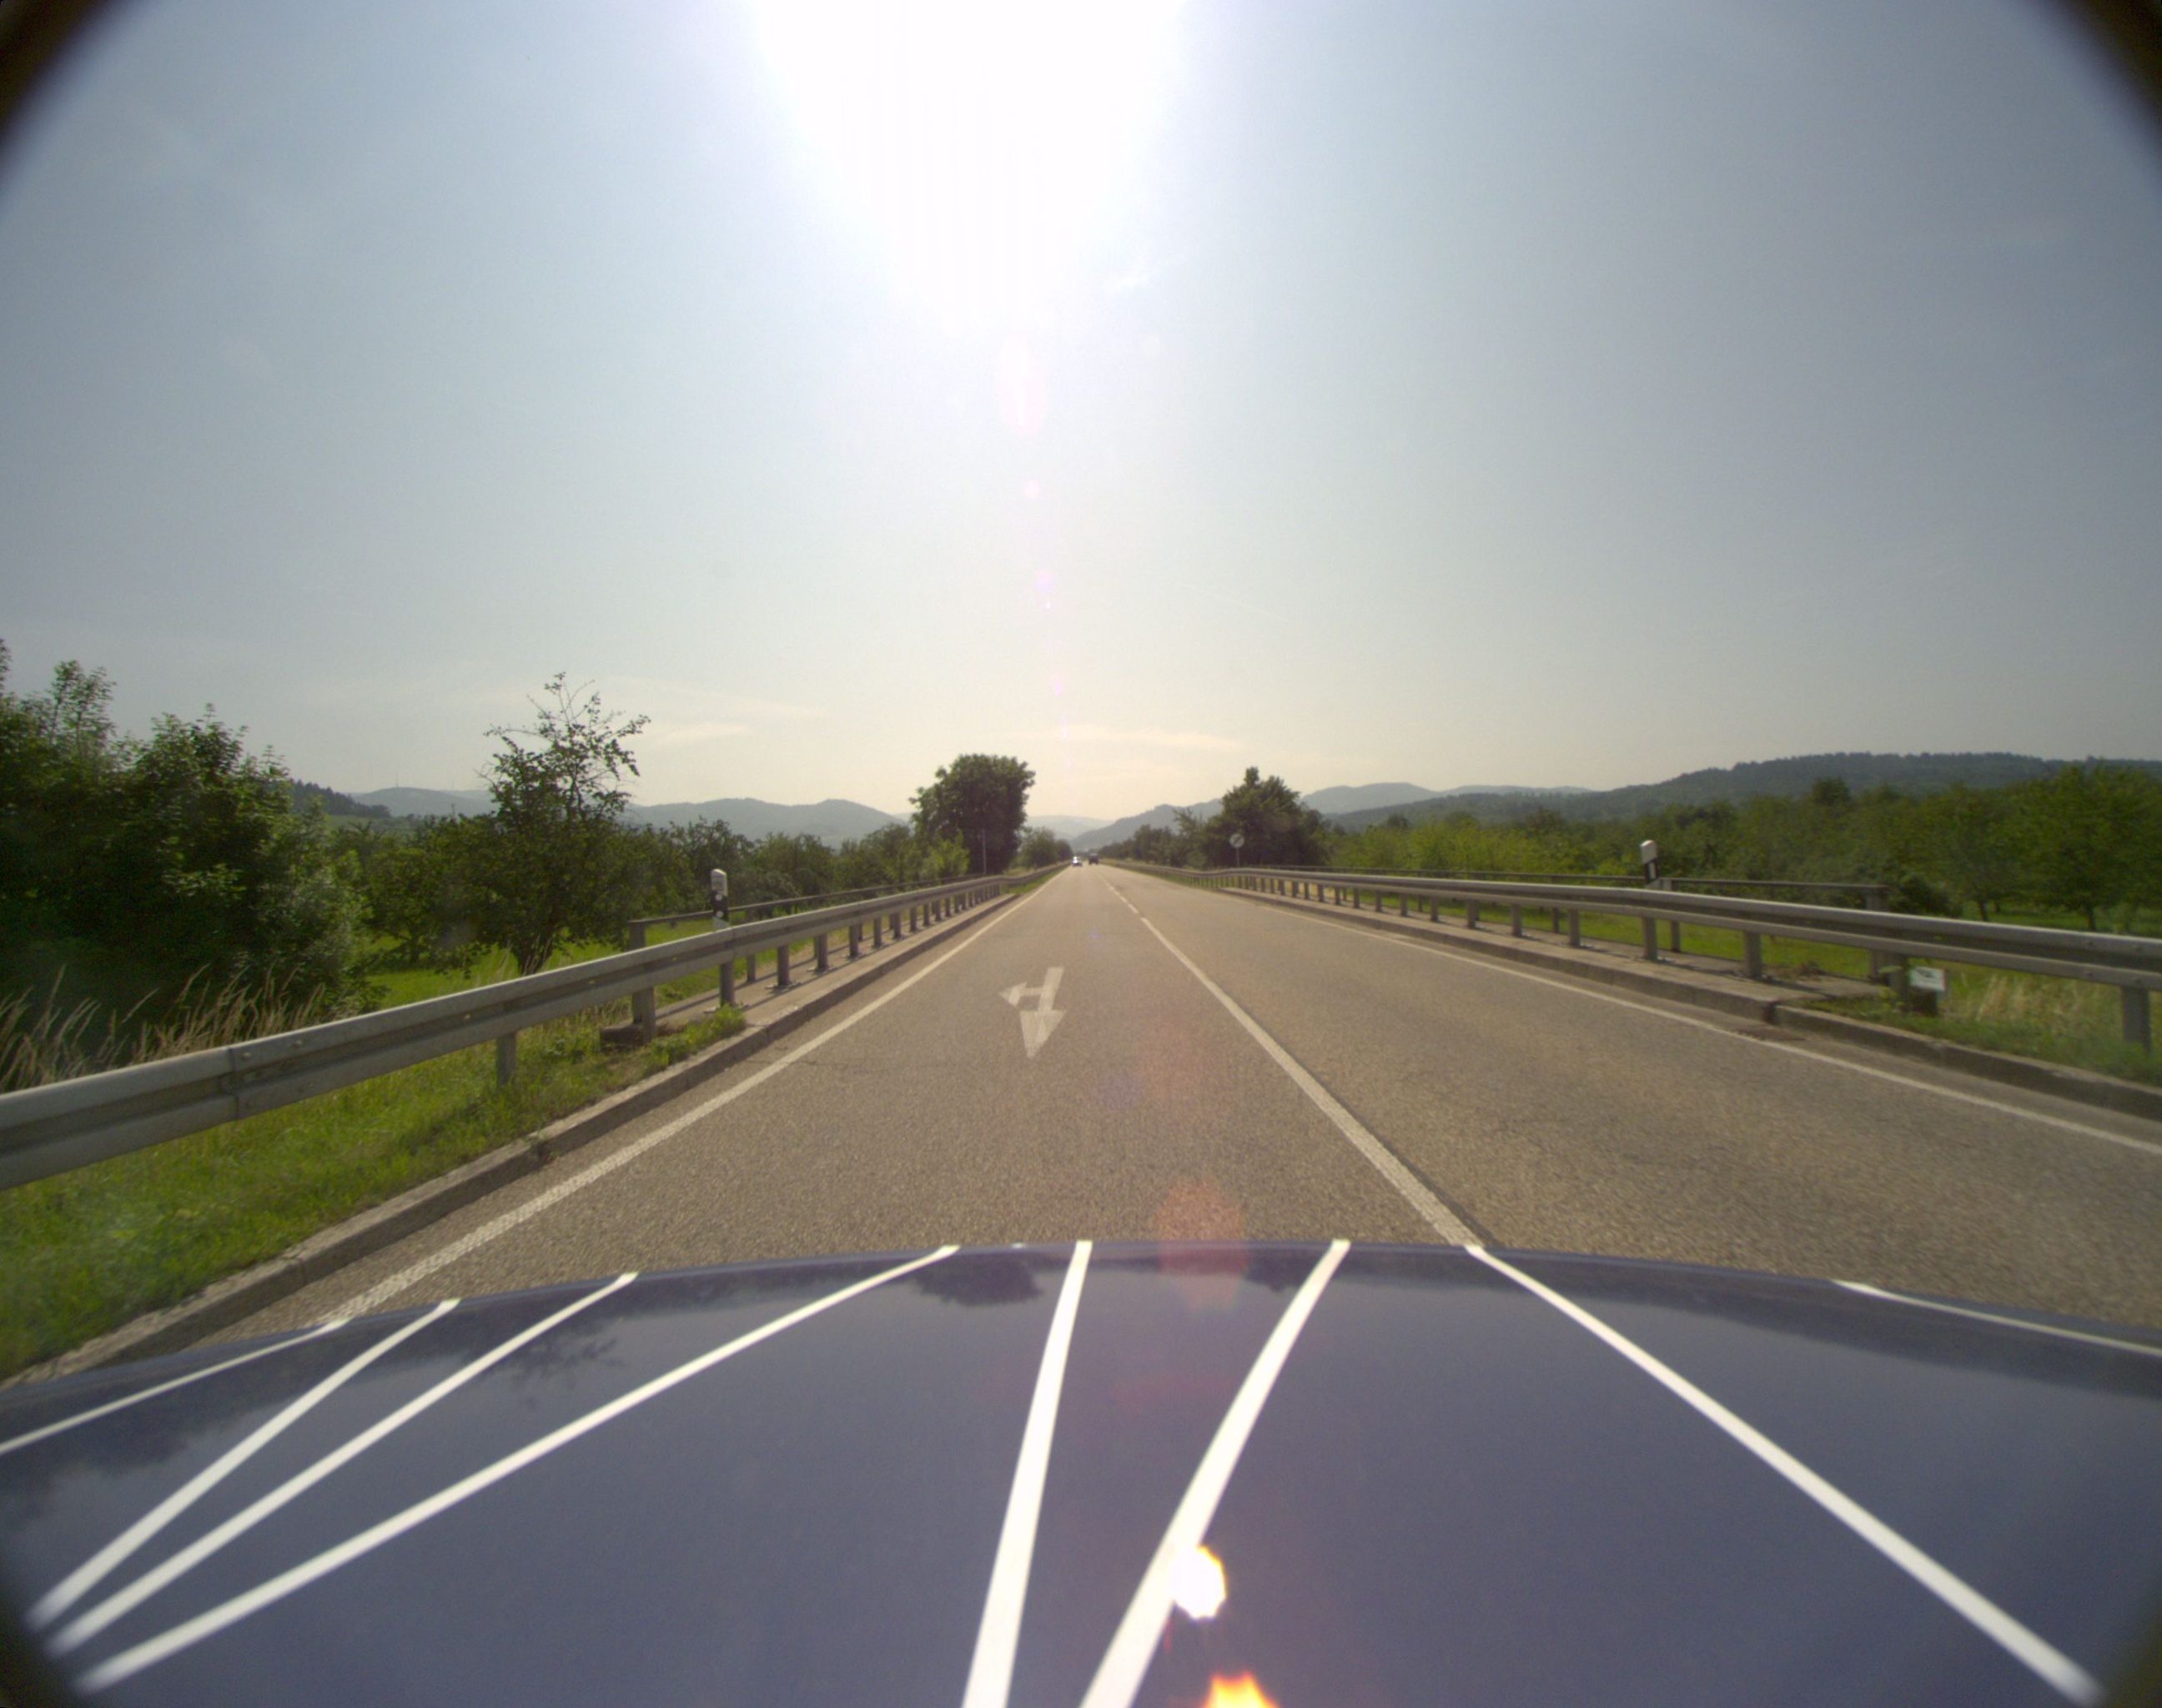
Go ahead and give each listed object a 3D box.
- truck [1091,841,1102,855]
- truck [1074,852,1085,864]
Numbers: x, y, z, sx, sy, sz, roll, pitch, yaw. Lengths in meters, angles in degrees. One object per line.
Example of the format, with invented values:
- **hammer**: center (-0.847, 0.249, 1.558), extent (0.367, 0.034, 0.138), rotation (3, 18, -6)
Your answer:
- **truck**: center (4.183, -1.579, 204.996), extent (2.735, 3.651, 9.381), rotation (-2, 1, 0)
- **truck**: center (-0.314, 0.846, 155.293), extent (2.032, 2.232, 4.764), rotation (-2, 1, 0)
